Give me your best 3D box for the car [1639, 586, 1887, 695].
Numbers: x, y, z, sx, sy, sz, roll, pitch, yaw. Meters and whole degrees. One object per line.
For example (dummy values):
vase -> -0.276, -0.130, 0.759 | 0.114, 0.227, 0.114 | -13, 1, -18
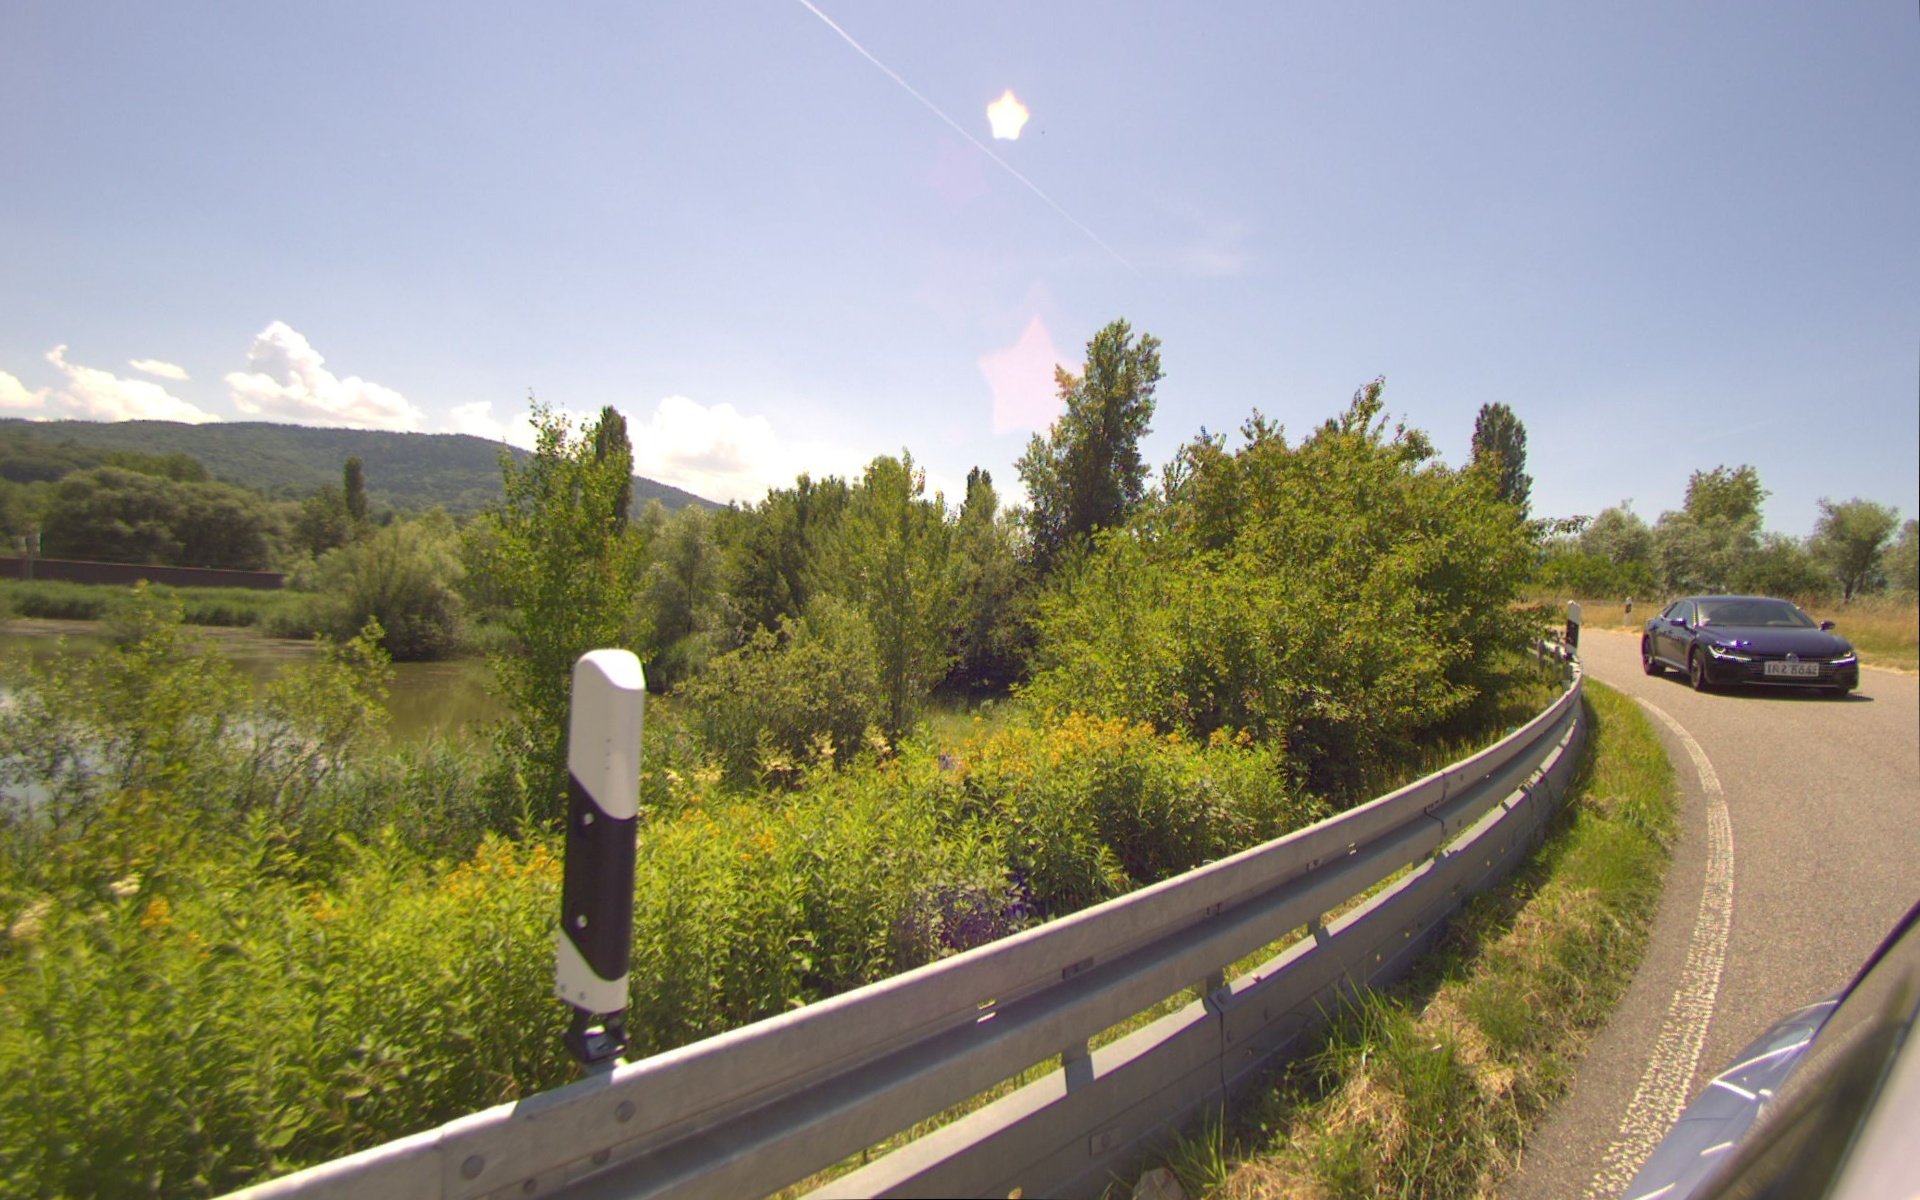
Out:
car -> 12.503, 0.527, 16.128 | 1.822, 1.448, 4.501 | -1, 1, 22
